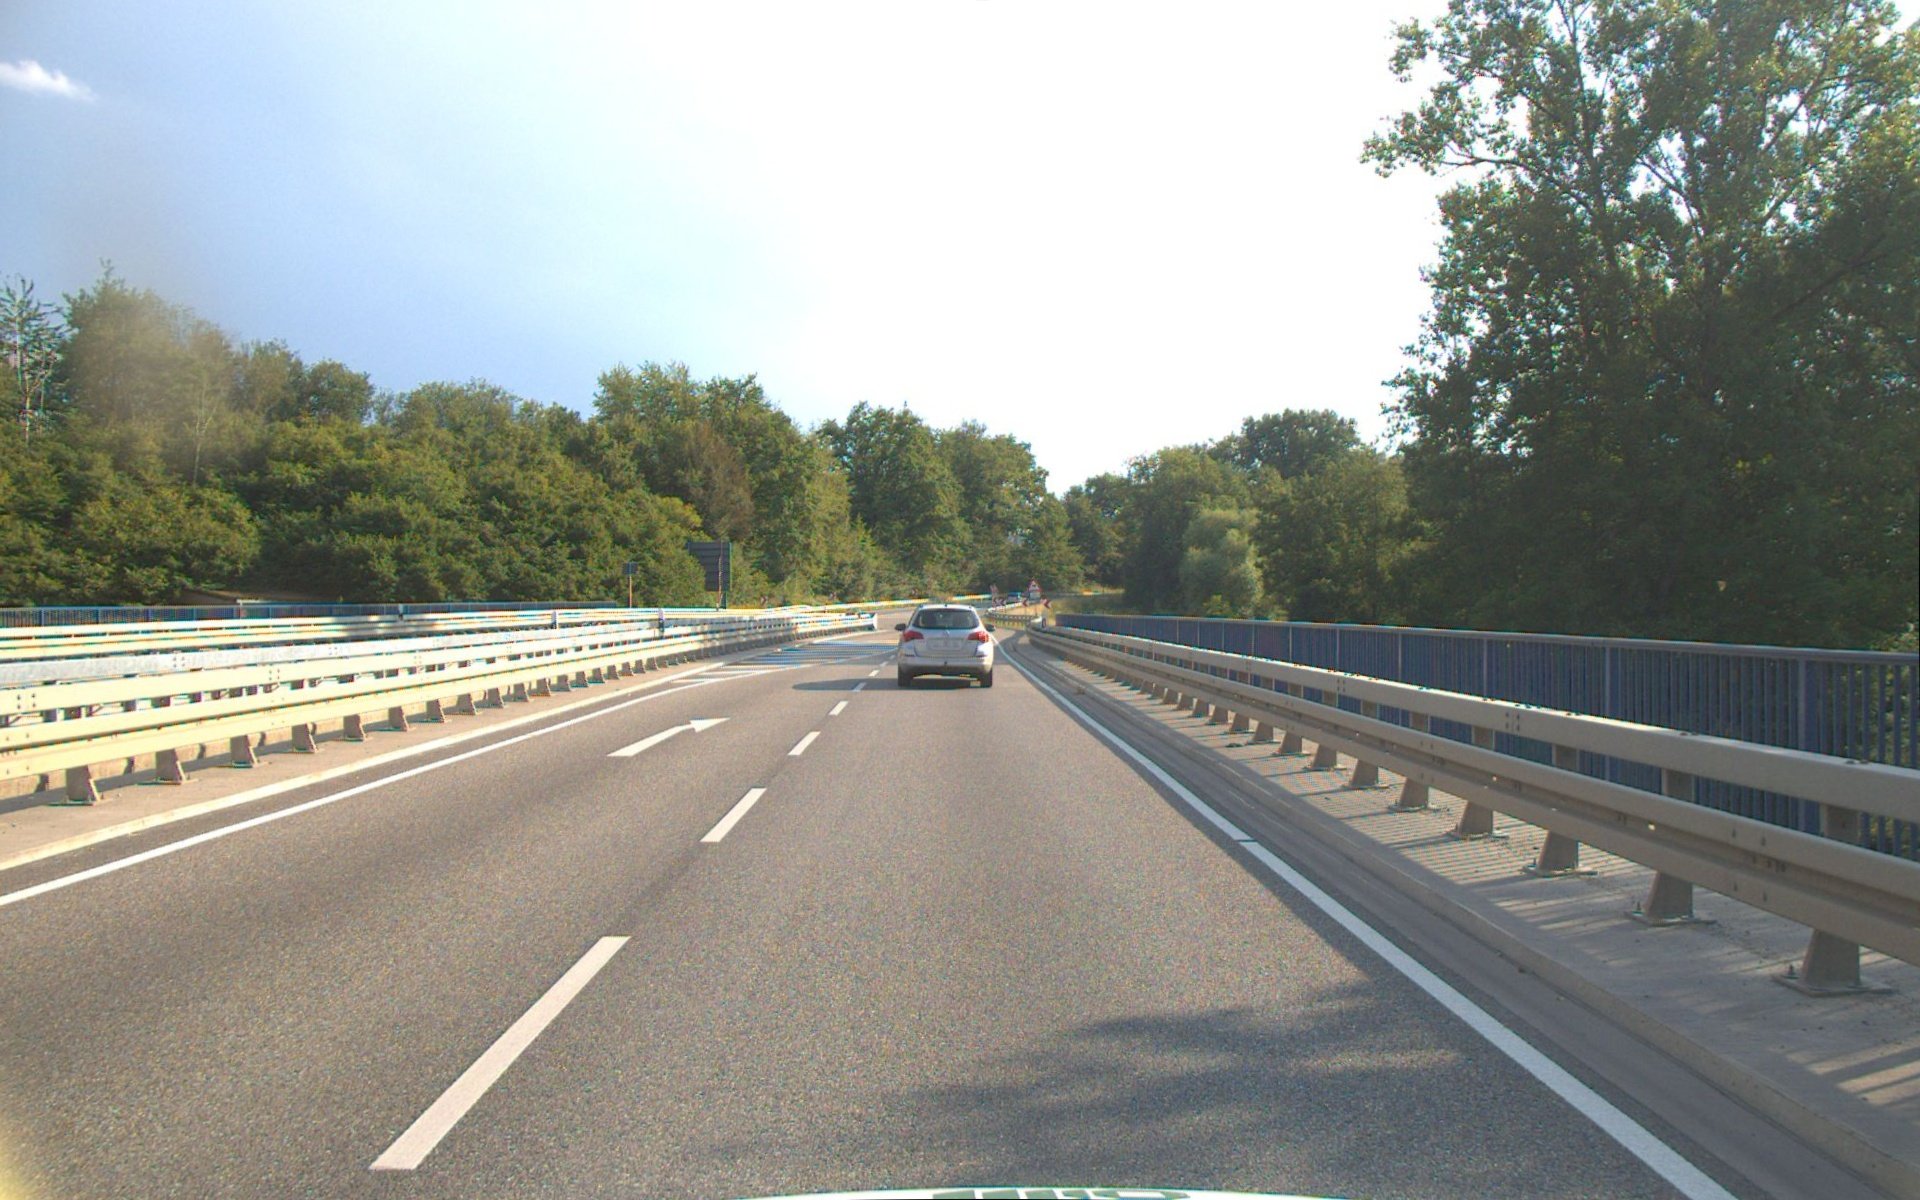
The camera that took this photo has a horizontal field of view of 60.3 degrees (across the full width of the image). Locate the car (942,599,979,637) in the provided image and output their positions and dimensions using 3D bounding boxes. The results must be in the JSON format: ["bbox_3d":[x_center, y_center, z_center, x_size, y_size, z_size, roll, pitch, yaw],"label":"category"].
[{"bbox_3d":[0.002,1.016,92.431,1.953,2.049,3.998,1,-1,-1],"label":"car"}]

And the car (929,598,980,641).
[{"bbox_3d":[-0.230,0.733,60.533,1.772,1.512,3.998,1,-1,-1],"label":"car"}]

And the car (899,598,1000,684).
[{"bbox_3d":[-0.229,0.766,31.371,1.772,1.512,3.998,1,-1,-1],"label":"car"}]

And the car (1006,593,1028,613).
[{"bbox_3d":[6.082,0.371,175.882,1.951,2.049,4.002,1,-1,7],"label":"car"}]
